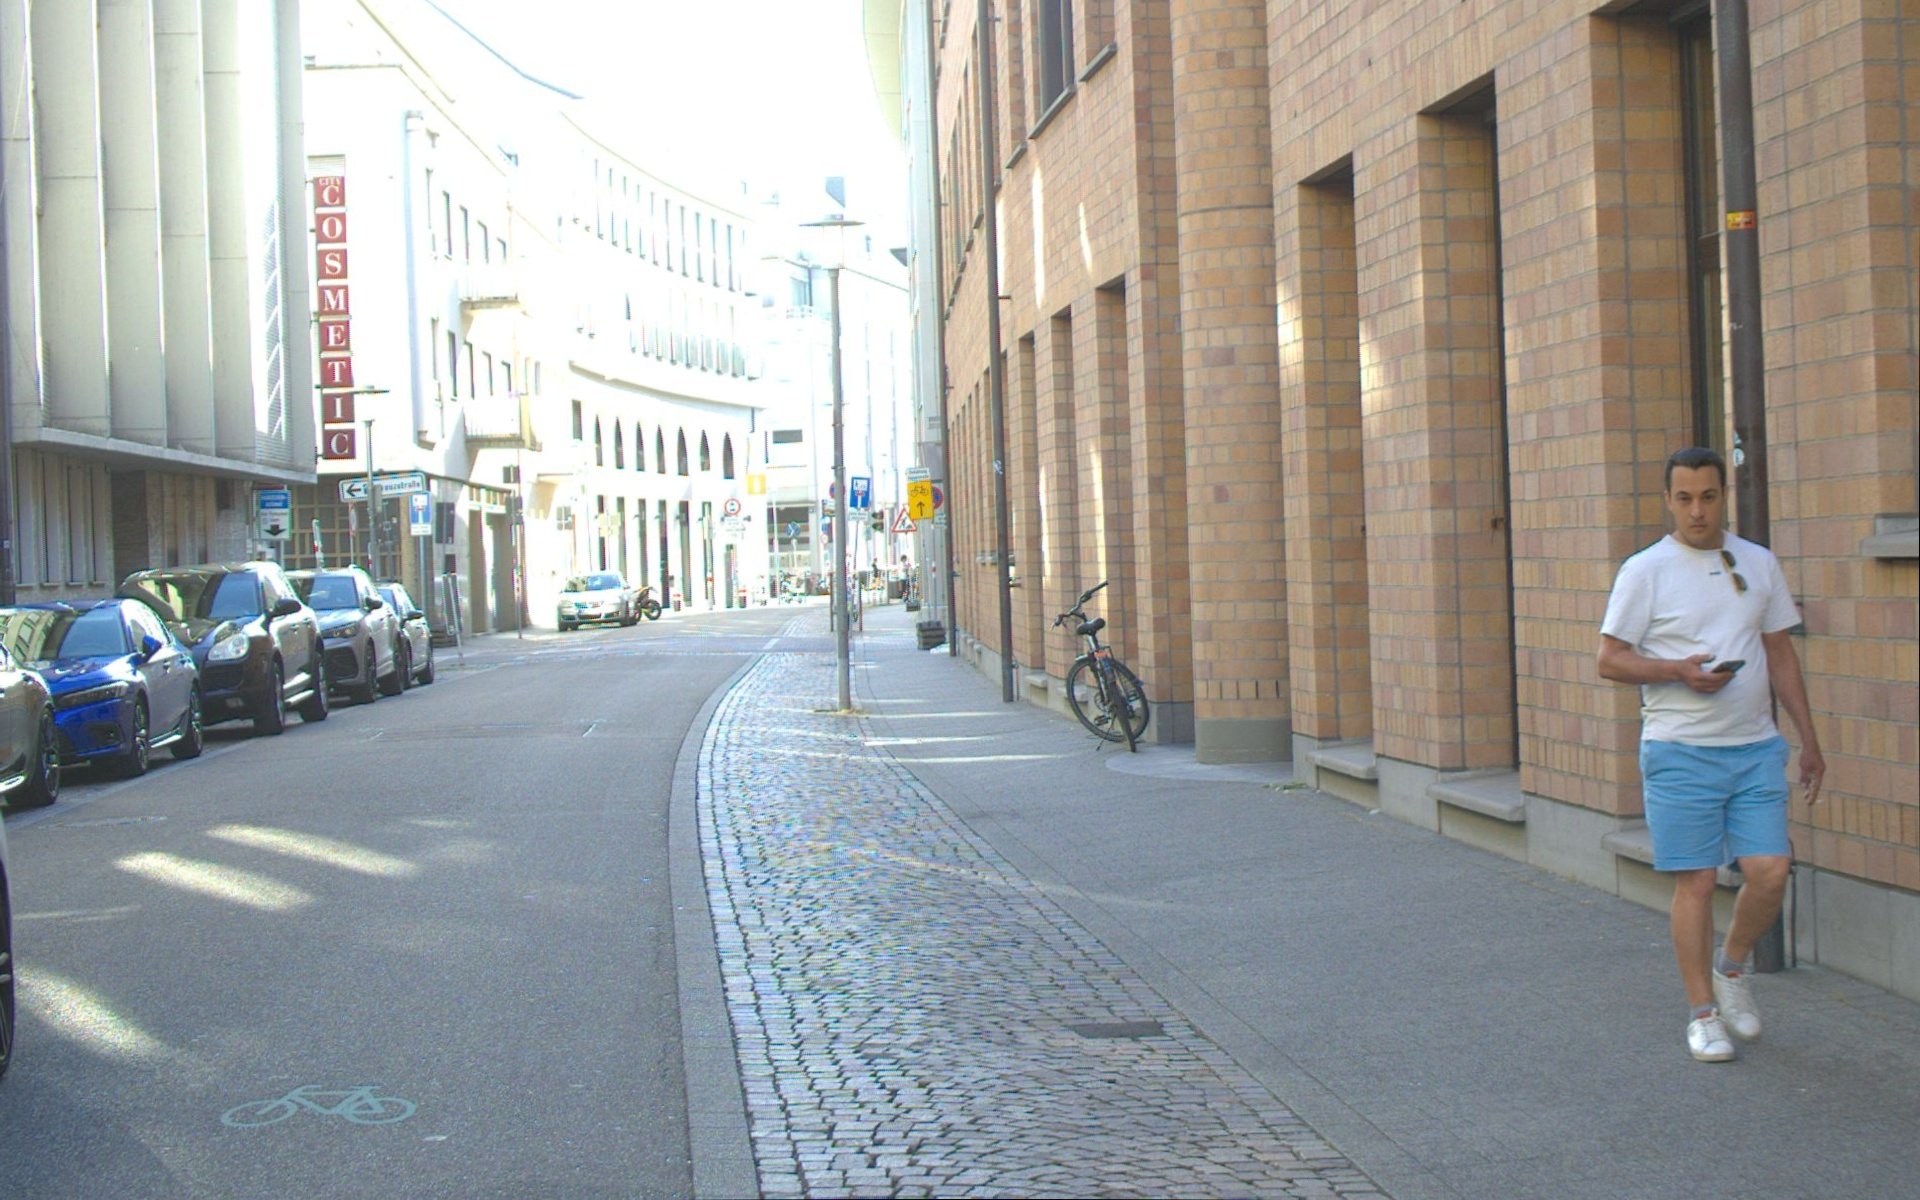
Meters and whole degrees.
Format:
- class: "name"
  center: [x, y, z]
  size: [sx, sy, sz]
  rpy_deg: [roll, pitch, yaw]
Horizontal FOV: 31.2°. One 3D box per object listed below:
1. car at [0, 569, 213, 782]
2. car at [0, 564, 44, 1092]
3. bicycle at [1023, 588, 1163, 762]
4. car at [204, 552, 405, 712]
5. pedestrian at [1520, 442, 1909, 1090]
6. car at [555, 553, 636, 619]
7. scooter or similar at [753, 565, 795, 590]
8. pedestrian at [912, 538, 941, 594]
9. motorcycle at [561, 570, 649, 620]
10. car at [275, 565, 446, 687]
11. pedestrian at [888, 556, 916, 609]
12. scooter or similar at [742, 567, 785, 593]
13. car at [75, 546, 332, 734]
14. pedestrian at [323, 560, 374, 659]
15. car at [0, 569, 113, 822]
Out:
- class: "car"
  center: [-7.336, 0.564, 27.964]
  size: [1.889, 1.525, 4.340]
  rpy_deg: [-2, 1, -5]
- class: "car"
  center: [-3.514, 0.714, 8.455]
  size: [1.714, 1.512, 4.161]
  rpy_deg: [-2, 1, -5]
- class: "bicycle"
  center: [0.908, 0.498, 23.997]
  size: [0.549, 1.099, 1.983]
  rpy_deg: [-5, 1, -8]
- class: "car"
  center: [-7.830, 0.333, 41.420]
  size: [1.889, 1.736, 4.391]
  rpy_deg: [-2, 1, -5]
- class: "pedestrian"
  center: [2.120, 0.442, 9.751]
  size: [0.760, 1.710, 0.821]
  rpy_deg: [-4, 1, -5]
- class: "car"
  center: [-9.218, -0.382, 87.176]
  size: [1.736, 1.600, 3.533]
  rpy_deg: [-1, 1, -1]
- class: "scooter or similar"
  center: [-7.218, -0.875, 133.393]
  size: [0.526, 0.925, 2.224]
  rpy_deg: [0, 1, 28]
- class: "pedestrian"
  center: [-1.121, -1.144, 115.527]
  size: [0.659, 1.862, 0.761]
  rpy_deg: [0, 0, -32]
- class: "motorcycle"
  center: [-10.143, -0.142, 98.250]
  size: [2.390, 1.312, 0.862]
  rpy_deg: [-3, 1, -2]
- class: "car"
  center: [-8.089, 0.317, 46.682]
  size: [1.648, 1.455, 3.999]
  rpy_deg: [-4, 1, -2]
- class: "pedestrian"
  center: [-2.034, -0.616, 120.558]
  size: [0.659, 1.862, 0.786]
  rpy_deg: [0, 0, -32]
- class: "scooter or similar"
  center: [-7.421, -0.770, 130.056]
  size: [0.526, 0.925, 2.224]
  rpy_deg: [0, 1, 28]
- class: "car"
  center: [-7.453, 0.335, 34.253]
  size: [1.889, 1.670, 4.554]
  rpy_deg: [-2, 1, -5]
- class: "pedestrian"
  center: [-10.154, 0.153, 57.061]
  size: [0.645, 1.620, 0.457]
  rpy_deg: [-2, 1, -43]
- class: "car"
  center: [-7.069, 0.591, 23.275]
  size: [1.889, 1.525, 4.730]
  rpy_deg: [-1, 1, -5]
